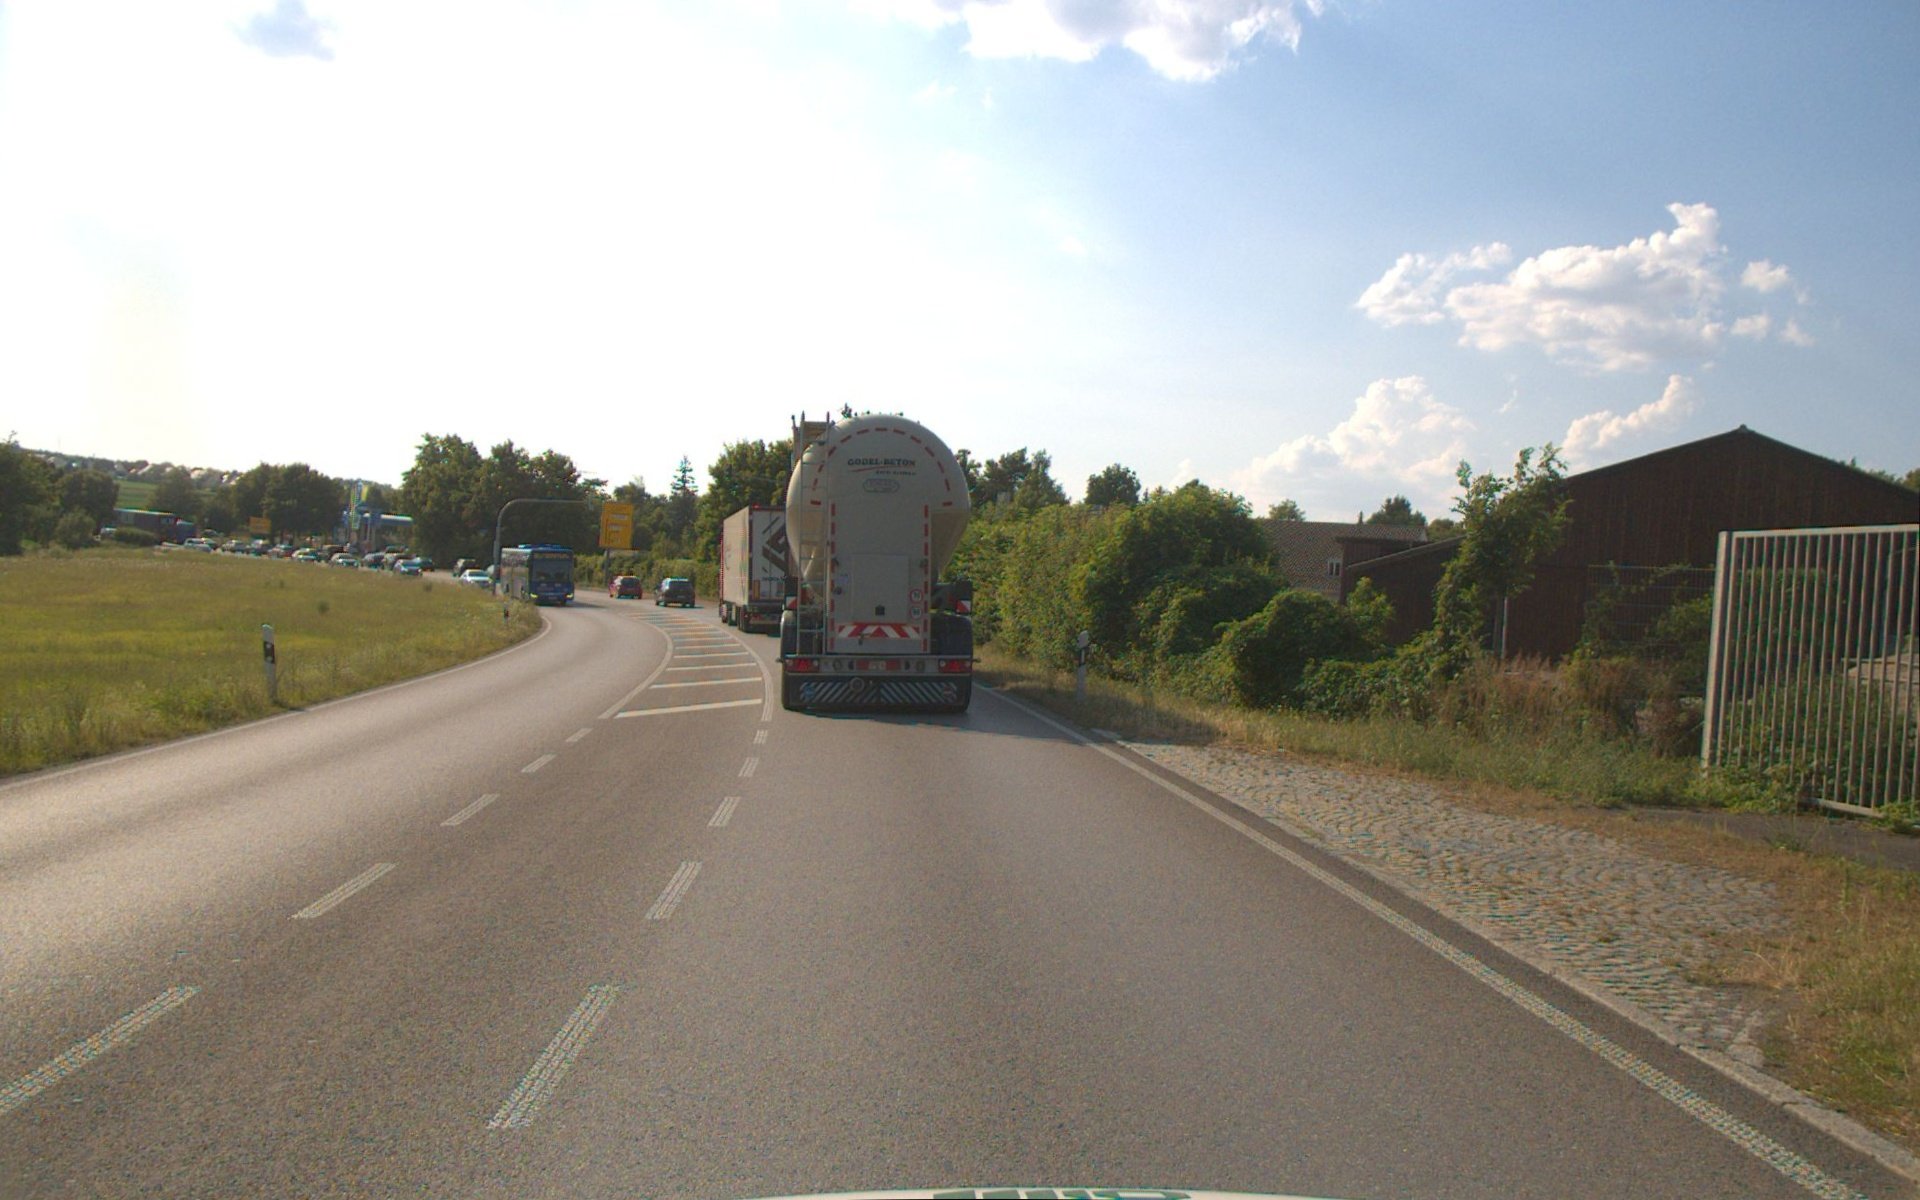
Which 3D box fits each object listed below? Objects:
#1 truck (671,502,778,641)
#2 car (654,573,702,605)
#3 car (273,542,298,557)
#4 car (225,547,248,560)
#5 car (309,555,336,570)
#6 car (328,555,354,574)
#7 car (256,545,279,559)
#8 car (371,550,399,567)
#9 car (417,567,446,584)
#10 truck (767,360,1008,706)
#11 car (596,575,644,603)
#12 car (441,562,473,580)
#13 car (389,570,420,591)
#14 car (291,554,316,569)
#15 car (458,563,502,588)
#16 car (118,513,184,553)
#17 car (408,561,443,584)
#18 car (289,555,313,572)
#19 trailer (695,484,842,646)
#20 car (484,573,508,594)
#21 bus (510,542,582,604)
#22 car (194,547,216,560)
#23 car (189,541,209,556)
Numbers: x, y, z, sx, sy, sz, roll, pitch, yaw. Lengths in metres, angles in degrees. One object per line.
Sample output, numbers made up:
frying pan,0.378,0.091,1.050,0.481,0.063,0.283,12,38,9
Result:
truck,-9.159,-1.018,63.733,2.917,4.972,6.397,2,-1,-18
car,-15.867,-0.610,92.876,1.964,1.685,3.976,2,-1,-20
car,-80.905,-6.066,198.426,1.867,1.627,3.949,2,1,-36
car,-91.343,-5.866,208.763,1.867,1.627,3.950,2,1,-36
car,-71.513,-4.196,185.520,2.066,1.627,3.954,2,1,-33
car,-60.041,-3.423,160.463,1.969,1.755,4.390,1,1,-26
car,-85.018,-5.952,203.011,1.864,1.627,3.955,2,1,-33
car,-61.454,-4.434,176.632,2.064,1.627,3.959,2,1,-30
car,-55.472,-2.597,173.501,2.064,1.627,3.959,2,1,-30
truck,-1.461,-0.779,26.506,2.918,4.248,11.647,2,-1,-6
car,-22.361,-0.700,108.657,2.269,1.685,4.383,2,-1,-24
car,-47.456,-2.732,156.037,2.064,1.627,3.959,2,1,-30
car,-47.516,-1.655,141.449,1.821,1.685,3.962,2,-1,-29
car,-76.592,-4.472,192.939,2.065,1.627,3.957,2,1,-32
car,-33.945,-1.696,116.937,1.825,1.685,3.952,2,-1,-34
car,-109.751,-9.100,224.265,13.015,5.147,3.529,2,1,43
car,-40.343,-2.062,124.771,1.821,1.685,3.962,2,-1,-29
car,-69.984,-3.884,175.584,1.821,1.685,3.962,2,-1,-29
trailer,-6.762,-1.075,56.616,2.918,4.967,10.234,2,-1,-18
car,-40.296,-1.429,143.504,1.499,1.685,3.844,2,-1,-23
bus,-23.924,-1.426,95.094,2.753,3.237,12.055,2,-1,-20
car,-97.148,-5.952,212.782,1.867,1.627,3.950,2,1,-36
car,-91.466,-6.182,198.713,1.822,1.685,3.960,2,-1,-30
